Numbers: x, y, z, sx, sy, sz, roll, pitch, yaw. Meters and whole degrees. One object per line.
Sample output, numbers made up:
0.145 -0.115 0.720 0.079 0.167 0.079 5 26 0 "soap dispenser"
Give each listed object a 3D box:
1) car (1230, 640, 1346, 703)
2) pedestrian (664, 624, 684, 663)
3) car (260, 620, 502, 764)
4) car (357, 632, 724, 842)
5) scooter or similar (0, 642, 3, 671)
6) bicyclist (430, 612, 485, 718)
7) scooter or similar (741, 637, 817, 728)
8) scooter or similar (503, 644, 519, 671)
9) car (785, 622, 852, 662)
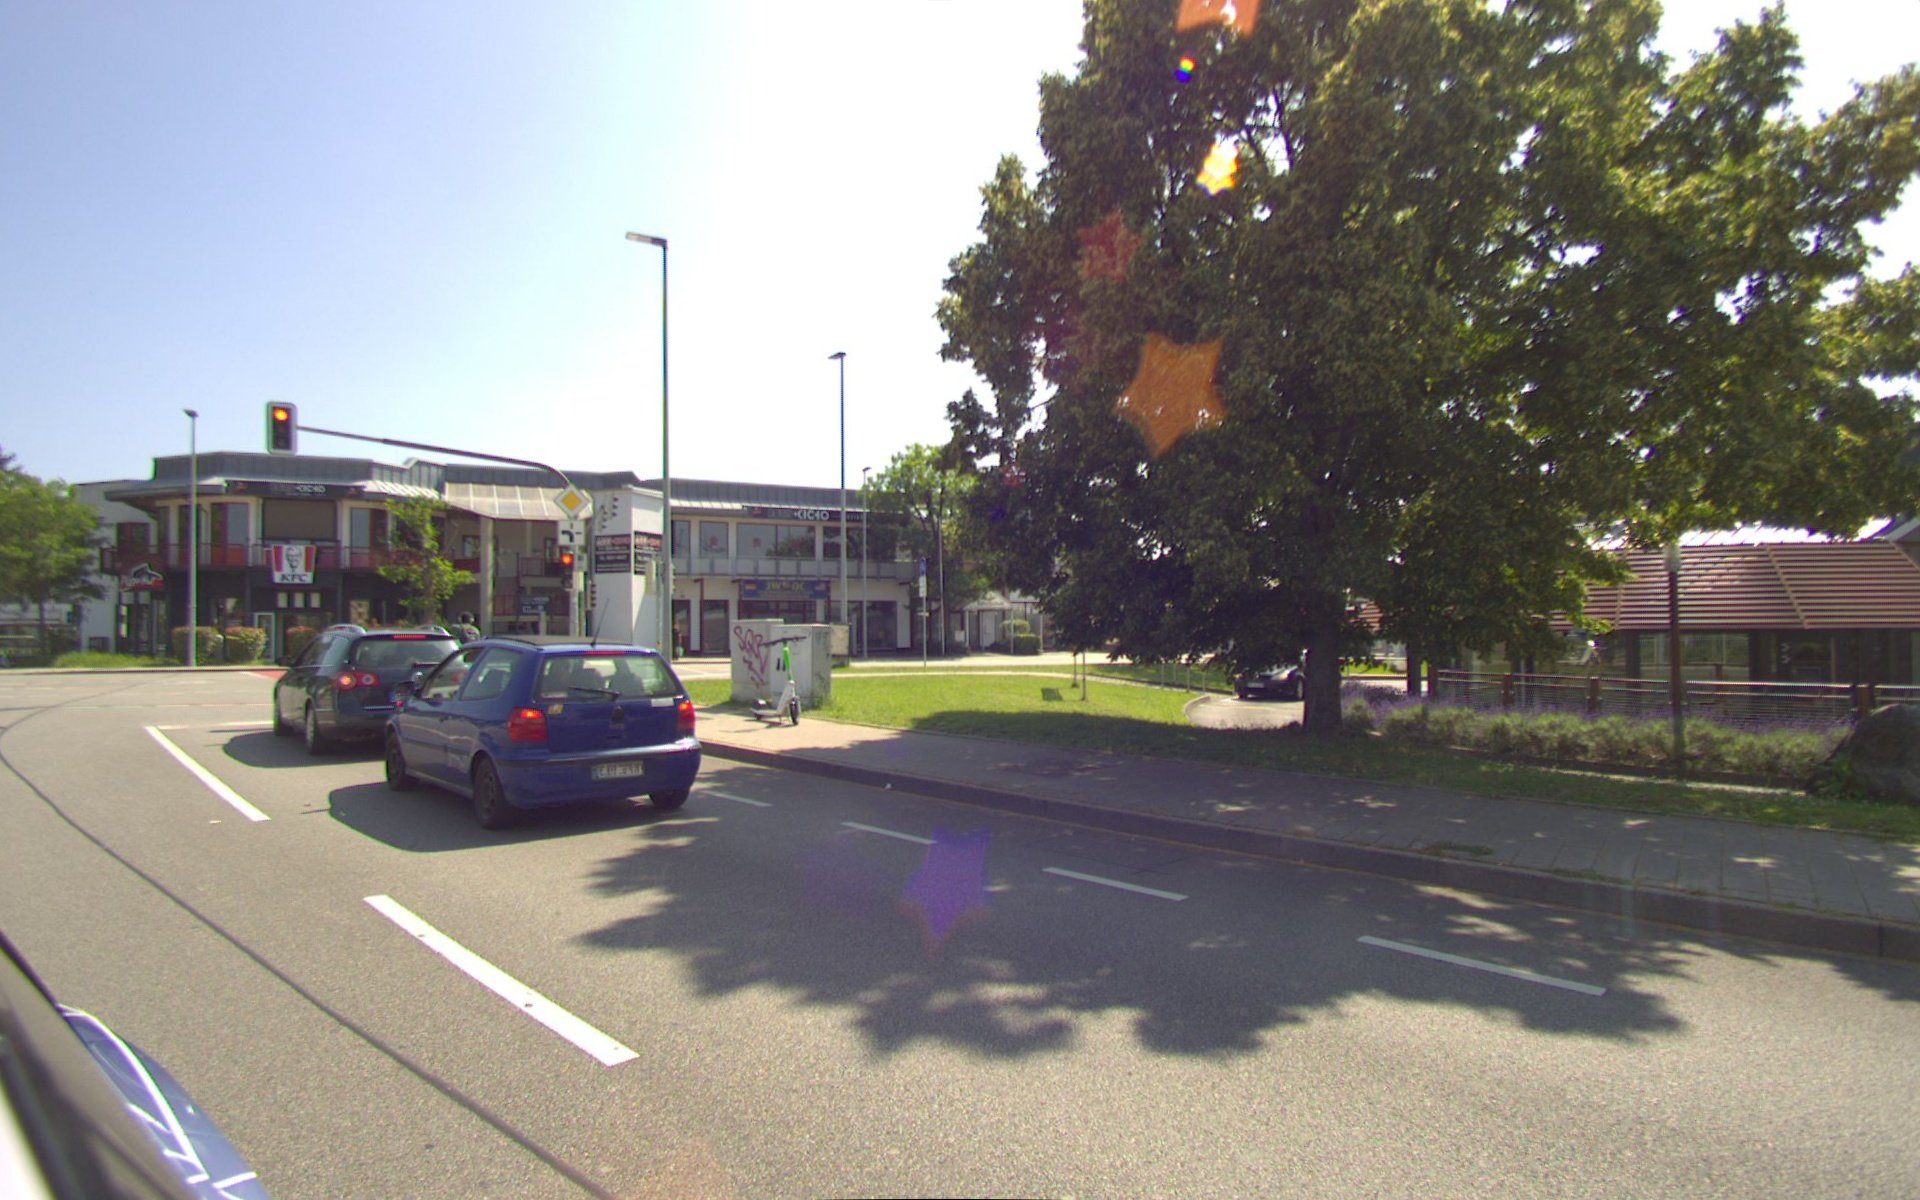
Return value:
9.097 1.901 27.867 1.862 1.564 4.138 -2 -3 35 "car"
-12.315 1.863 43.642 0.722 1.658 0.843 0 -2 -7 "pedestrian"
-7.569 1.058 12.982 1.758 1.508 4.728 2 -3 -41 "car"
-3.781 0.984 8.741 1.636 1.391 4.004 2 -3 -43 "car"
-37.079 2.165 38.715 0.420 1.132 1.455 1 -3 -33 "scooter or similar"
-8.867 1.133 17.854 0.701 1.802 0.810 2 -3 -38 "bicyclist"
-2.503 1.104 13.929 0.465 1.193 1.368 1 -3 -37 "scooter or similar"
-19.248 2.462 43.380 0.492 1.132 1.509 1 -2 -19 "scooter or similar"
-7.019 2.057 49.827 1.777 1.870 4.674 1 -2 -27 "car"
